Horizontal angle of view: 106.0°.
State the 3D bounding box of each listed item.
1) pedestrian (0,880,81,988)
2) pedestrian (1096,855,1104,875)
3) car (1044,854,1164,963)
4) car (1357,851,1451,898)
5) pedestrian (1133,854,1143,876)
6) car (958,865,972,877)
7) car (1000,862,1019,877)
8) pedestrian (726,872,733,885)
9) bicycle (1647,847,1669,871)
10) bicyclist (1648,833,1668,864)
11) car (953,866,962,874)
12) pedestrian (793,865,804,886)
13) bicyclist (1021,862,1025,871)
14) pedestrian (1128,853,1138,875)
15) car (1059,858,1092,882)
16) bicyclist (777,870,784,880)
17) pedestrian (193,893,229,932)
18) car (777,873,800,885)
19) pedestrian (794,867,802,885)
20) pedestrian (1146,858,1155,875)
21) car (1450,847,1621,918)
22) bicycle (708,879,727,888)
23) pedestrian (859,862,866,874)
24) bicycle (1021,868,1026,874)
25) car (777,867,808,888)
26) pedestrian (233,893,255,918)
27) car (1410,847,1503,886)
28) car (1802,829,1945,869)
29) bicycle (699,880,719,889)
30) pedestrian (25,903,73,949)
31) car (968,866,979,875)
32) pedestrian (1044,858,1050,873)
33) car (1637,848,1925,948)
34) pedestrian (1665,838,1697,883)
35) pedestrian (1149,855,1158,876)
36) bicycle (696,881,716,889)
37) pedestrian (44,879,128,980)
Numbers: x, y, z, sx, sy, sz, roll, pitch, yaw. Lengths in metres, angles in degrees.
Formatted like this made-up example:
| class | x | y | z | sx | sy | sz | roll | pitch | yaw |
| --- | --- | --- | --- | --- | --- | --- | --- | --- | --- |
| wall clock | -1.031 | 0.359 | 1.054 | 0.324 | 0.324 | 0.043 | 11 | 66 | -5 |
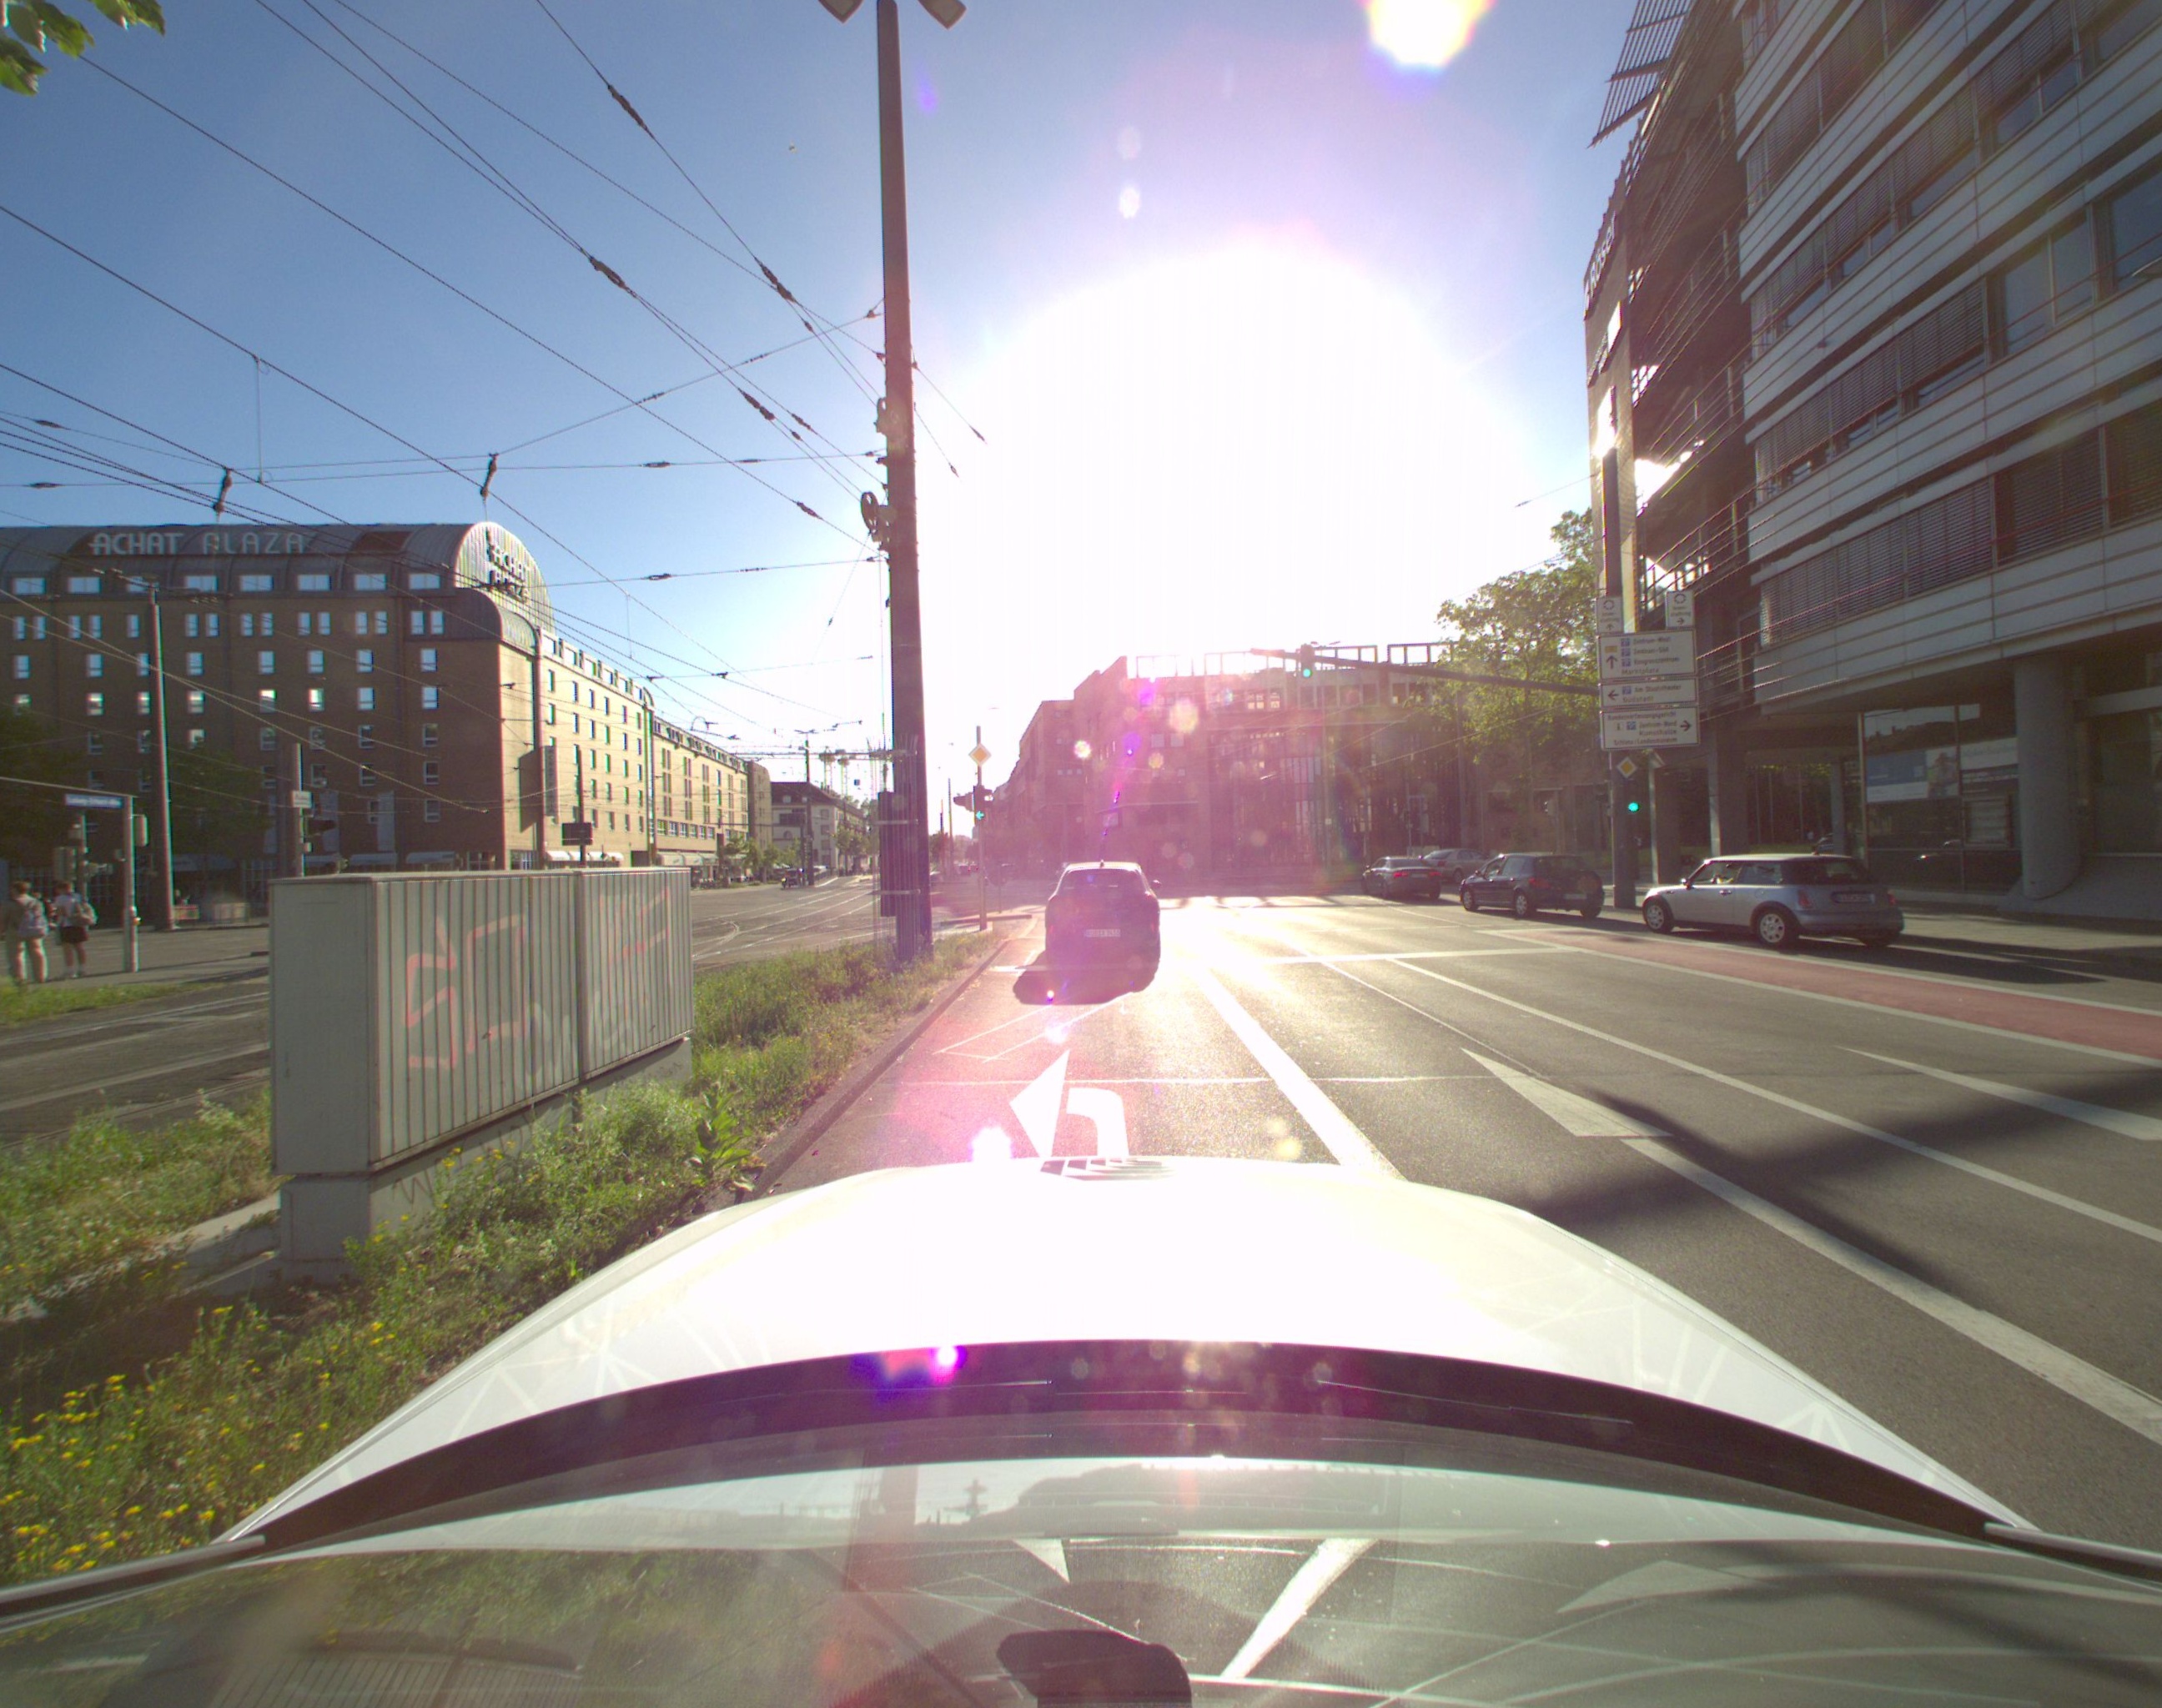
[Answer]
| class | x | y | z | sx | sy | sz | roll | pitch | yaw |
| --- | --- | --- | --- | --- | --- | --- | --- | --- | --- |
| pedestrian | -19.022 | 1.436 | 14.816 | 0.729 | 1.869 | 0.699 | -2 | 0 | 1 |
| pedestrian | 1.822 | 1.050 | 77.838 | 0.639 | 1.786 | 0.687 | -3 | -1 | -6 |
| car | 0.377 | 0.767 | 13.217 | 1.665 | 1.502 | 3.692 | -1 | 0 | 2 |
| car | 10.887 | 0.677 | 27.739 | 1.688 | 1.440 | 4.021 | -1 | -1 | 2 |
| pedestrian | 4.739 | 0.879 | 67.234 | 0.573 | 1.786 | 0.546 | -3 | -1 | -17 |
| car | -14.985 | 2.145 | 105.127 | 1.720 | 1.453 | 3.686 | -3 | 0 | -9 |
| car | -7.418 | 1.565 | 84.132 | 1.671 | 1.453 | 3.686 | -3 | 0 | -9 |
| pedestrian | -49.485 | 3.415 | 114.724 | 0.716 | 1.764 | 0.564 | -3 | 0 | -7 |
| bicycle | 26.584 | 0.219 | 37.479 | 0.658 | 1.018 | 2.199 | -1 | 2 | 39 |
| bicyclist | 26.439 | -0.260 | 37.318 | 0.658 | 1.407 | 0.821 | -1 | 1 | 39 |
| car | -24.202 | 3.172 | 159.165 | 1.516 | 1.453 | 3.570 | -3 | 0 | -11 |
| pedestrian | -24.173 | 1.815 | 69.723 | 0.720 | 1.727 | 0.593 | -2 | 0 | -8 |
| bicyclist | -8.989 | 1.869 | 126.051 | 0.645 | 1.339 | 0.651 | -2 | 0 | -8 |
| pedestrian | 4.300 | 0.859 | 67.782 | 0.573 | 1.786 | 0.546 | -3 | -1 | -17 |
| car | -0.403 | 1.059 | 54.218 | 1.560 | 1.456 | 3.419 | -2 | 0 | -10 |
| bicyclist | -43.098 | 2.946 | 116.829 | 0.810 | 1.377 | 0.922 | -3 | 0 | -11 |
| pedestrian | -40.293 | 2.705 | 37.728 | 0.713 | 1.680 | 0.829 | -2 | 1 | -7 |
| car | -35.151 | 2.990 | 97.849 | 1.840 | 1.268 | 4.214 | -4 | 0 | -11 |
| pedestrian | -24.921 | 1.931 | 71.745 | 0.583 | 1.577 | 0.642 | -2 | -1 | -23 |
| pedestrian | 5.993 | 1.062 | 70.317 | 0.550 | 1.477 | 0.568 | -2 | 0 | -27 |
| car | 10.779 | 0.634 | 19.683 | 1.855 | 1.475 | 3.976 | -2 | 0 | 0 |
| bicycle | -42.695 | 3.455 | 95.625 | 2.026 | 0.921 | 0.483 | -3 | 0 | 1 |
| pedestrian | -31.001 | 2.044 | 115.754 | 0.863 | 1.670 | 0.779 | -1 | 0 | -20 |
| bicycle | -8.950 | 2.657 | 125.955 | 0.648 | 0.904 | 2.339 | -2 | 0 | -7 |
| car | -28.083 | 2.226 | 79.289 | 1.837 | 1.836 | 4.098 | -4 | 0 | -6 |
| pedestrian | -57.603 | 3.543 | 56.050 | 0.750 | 1.666 | 0.739 | -2 | 0 | -7 |
| car | 16.115 | 0.512 | 34.947 | 3.996 | 1.475 | 1.683 | -2 | 0 | -32 |
| car | 32.504 | -0.206 | 33.493 | 3.948 | 1.475 | 1.869 | -2 | 0 | 3 |
| bicycle | -43.097 | 3.491 | 94.443 | 2.026 | 0.921 | 0.483 | -3 | 0 | 1 |
| pedestrian | -40.206 | 2.795 | 31.734 | 0.711 | 1.680 | 0.832 | -2 | 1 | 2 |
| car | -18.142 | 2.765 | 137.023 | 1.720 | 1.453 | 3.686 | -3 | 0 | -9 |
| pedestrian | -4.184 | 1.373 | 100.114 | 0.547 | 1.786 | 0.572 | -2 | 2 | -7 |
| car | 11.038 | 0.627 | 13.210 | 1.655 | 1.389 | 3.537 | -1 | 0 | 1 |
| pedestrian | 23.267 | 0.251 | 31.590 | 0.786 | 1.734 | 0.588 | -1 | -1 | 9 |
| pedestrian | 6.128 | 0.981 | 68.957 | 0.573 | 1.786 | 0.546 | -3 | -1 | -17 |
| bicycle | -42.835 | 3.513 | 92.970 | 2.026 | 0.845 | 0.483 | -3 | 0 | 1 |
| pedestrian | -19.207 | 1.431 | 15.730 | 0.729 | 1.869 | 0.673 | -2 | 0 | -2 |
